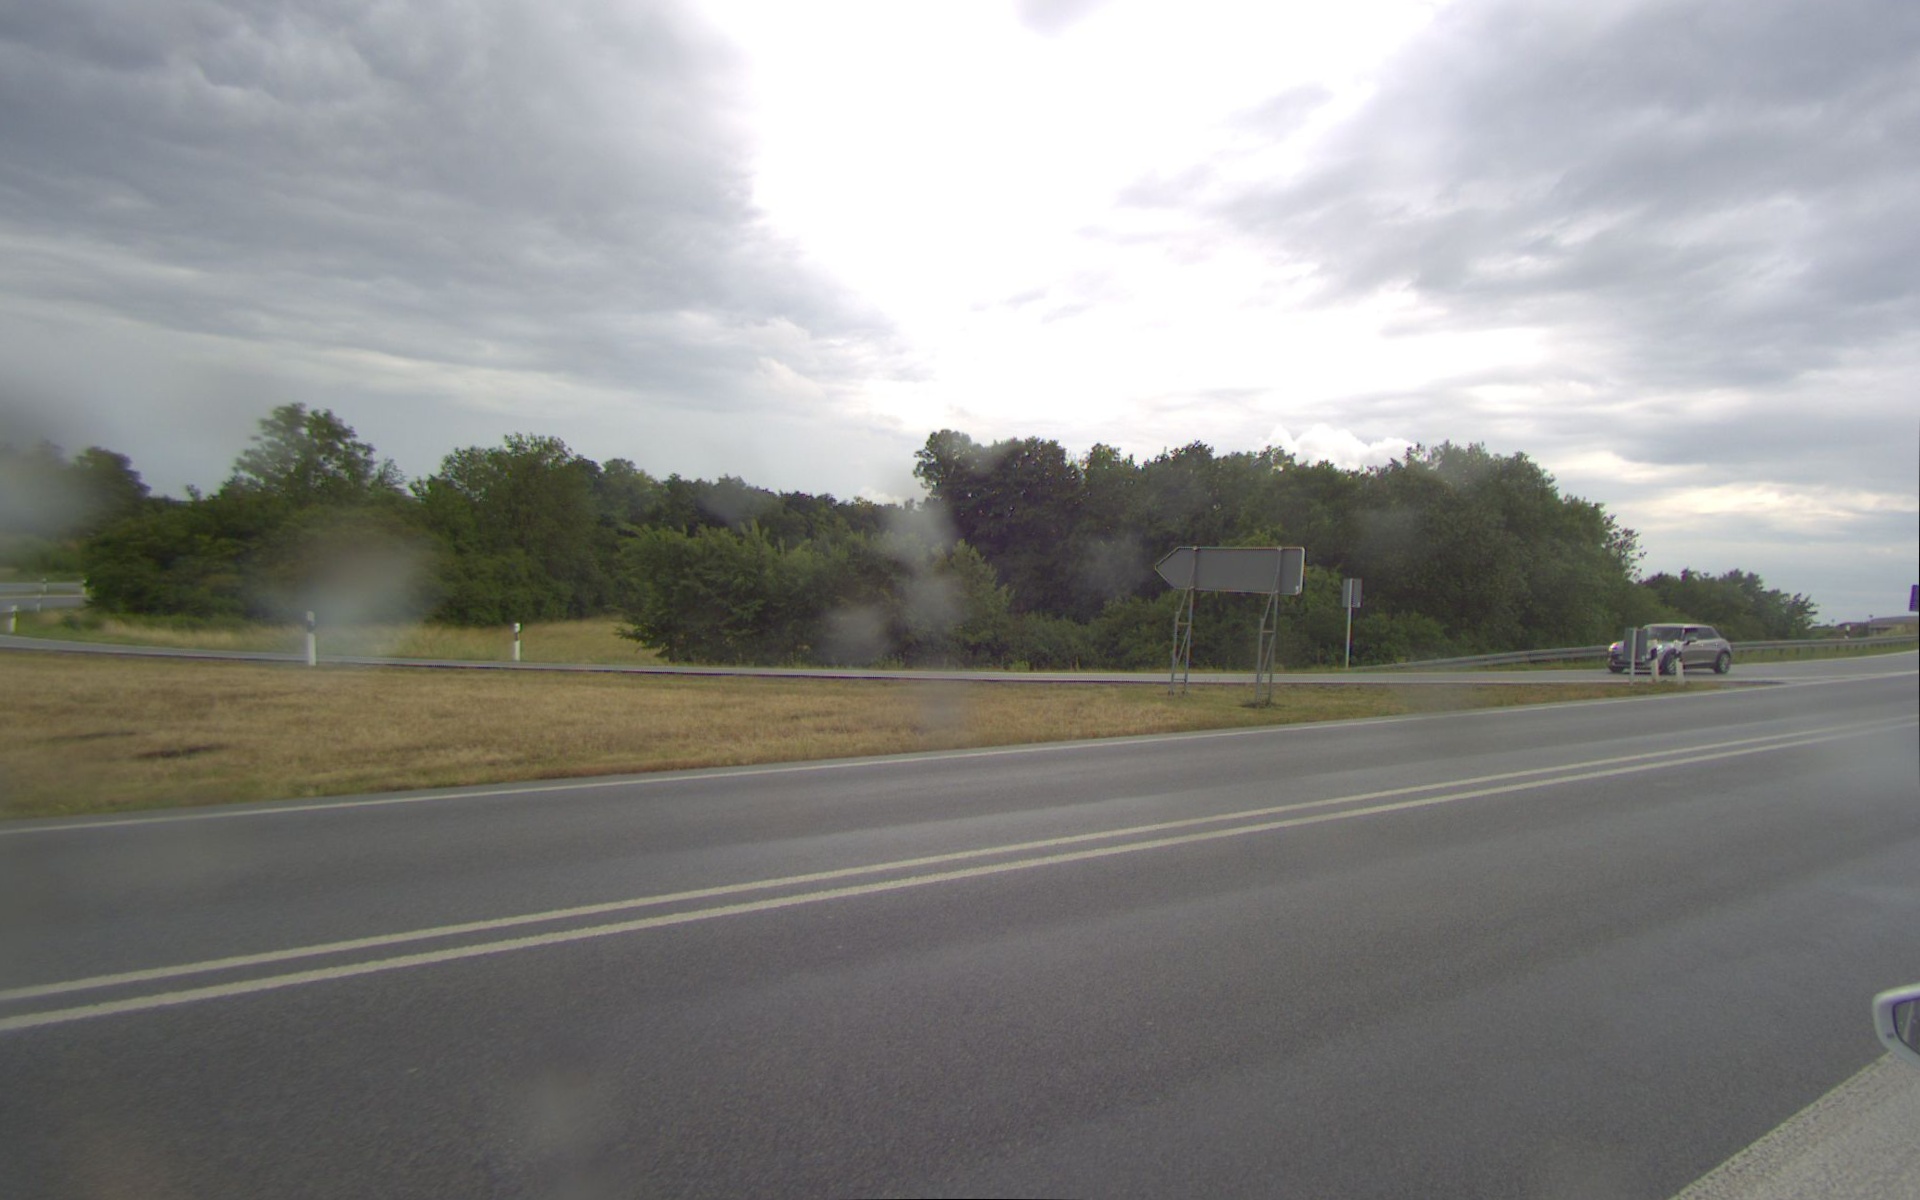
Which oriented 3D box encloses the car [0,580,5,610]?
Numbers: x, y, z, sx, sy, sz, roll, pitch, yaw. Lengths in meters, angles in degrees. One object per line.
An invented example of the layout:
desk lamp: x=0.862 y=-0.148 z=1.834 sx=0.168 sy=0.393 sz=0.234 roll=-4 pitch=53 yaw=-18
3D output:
car: x=-53.250 y=-0.288 z=53.820 sx=1.963 sy=1.625 sz=3.887 roll=4 pitch=0 yaw=-28

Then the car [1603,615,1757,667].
car: x=20.917 y=1.219 z=29.191 sx=3.990 sy=1.383 sz=1.742 roll=2 pitch=-4 yaw=-21
